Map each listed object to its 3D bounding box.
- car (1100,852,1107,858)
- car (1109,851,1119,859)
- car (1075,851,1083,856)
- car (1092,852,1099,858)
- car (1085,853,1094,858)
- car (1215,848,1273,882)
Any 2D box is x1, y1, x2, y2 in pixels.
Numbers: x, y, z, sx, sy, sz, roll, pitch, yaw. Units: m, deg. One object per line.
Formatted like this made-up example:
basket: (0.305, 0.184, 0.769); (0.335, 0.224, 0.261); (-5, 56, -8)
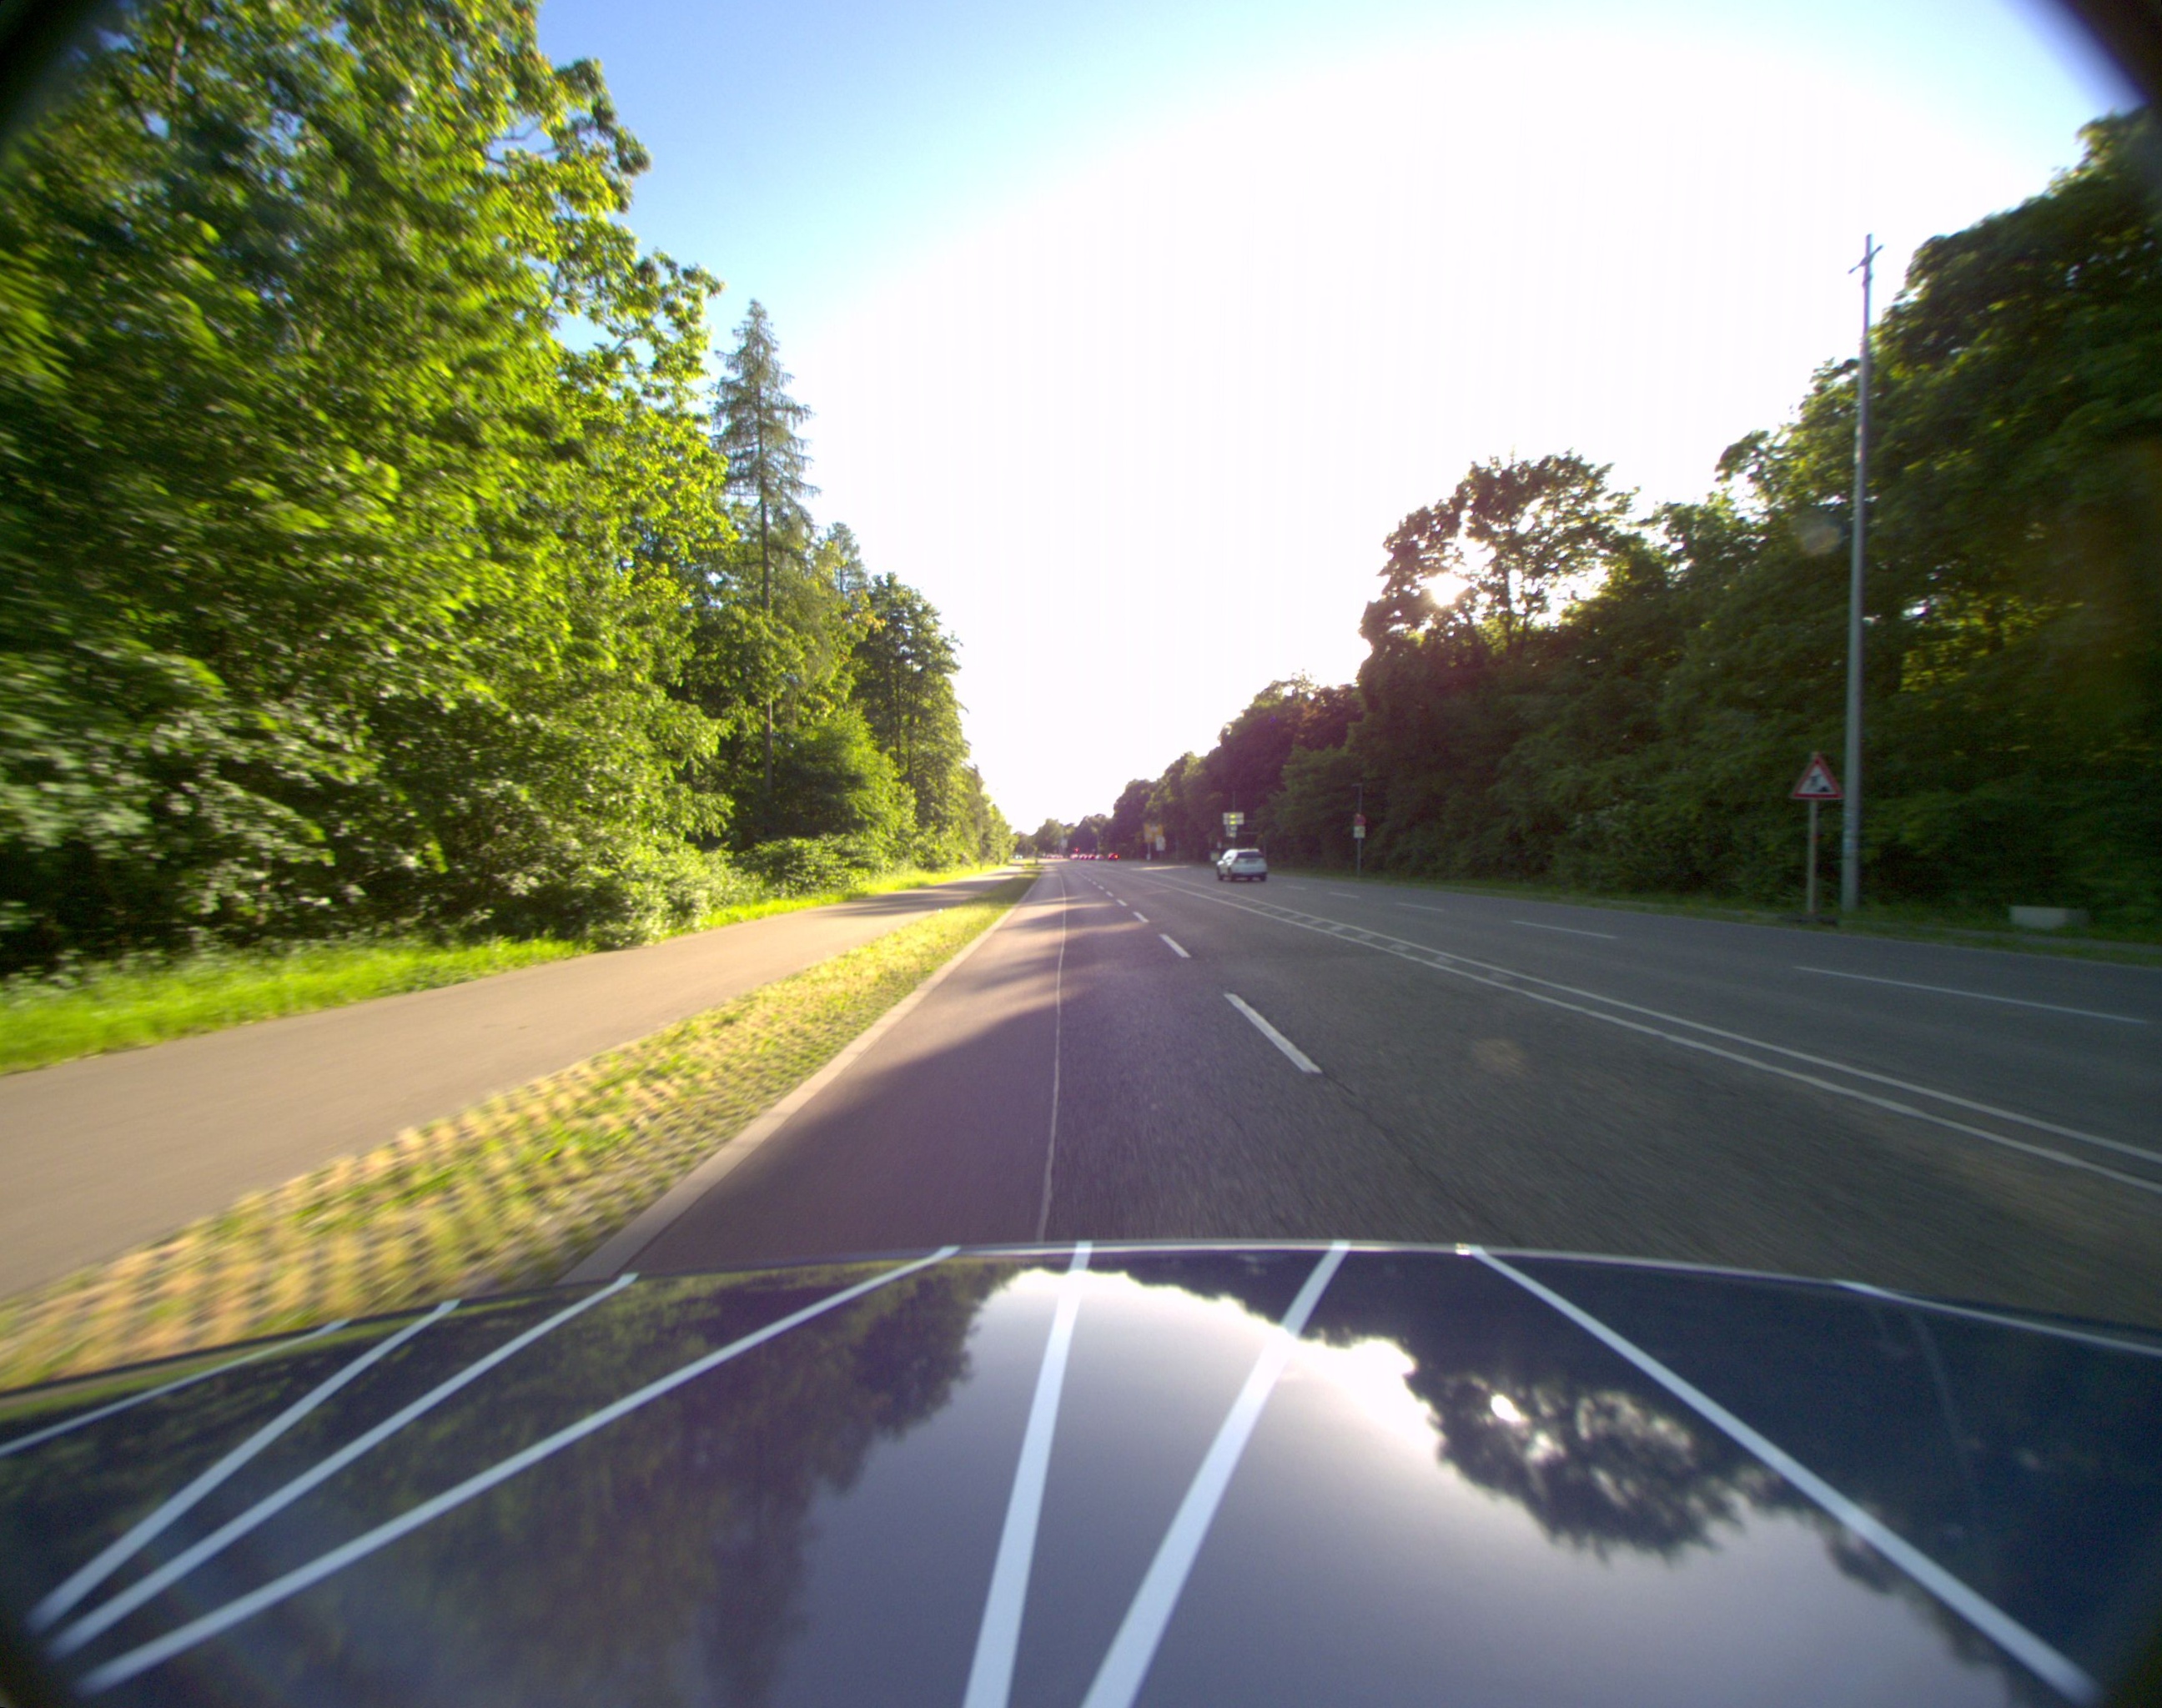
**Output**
car: (6.128, 0.232, 206.657); (1.830, 1.495, 4.305); (-1, 0, -2)
car: (7.328, 0.188, 169.029); (1.830, 1.580, 4.350); (-1, 0, -2)
car: (-0.719, -0.032, 245.330); (2.000, 1.627, 4.839); (0, 0, -9)
car: (4.272, 0.316, 220.869); (1.829, 1.536, 4.256); (-1, 0, 0)
car: (2.565, 0.560, 230.492); (2.000, 1.555, 4.335); (0, 0, -7)
car: (8.428, 0.522, 39.718); (1.913, 1.654, 4.733); (-1, 0, -2)
